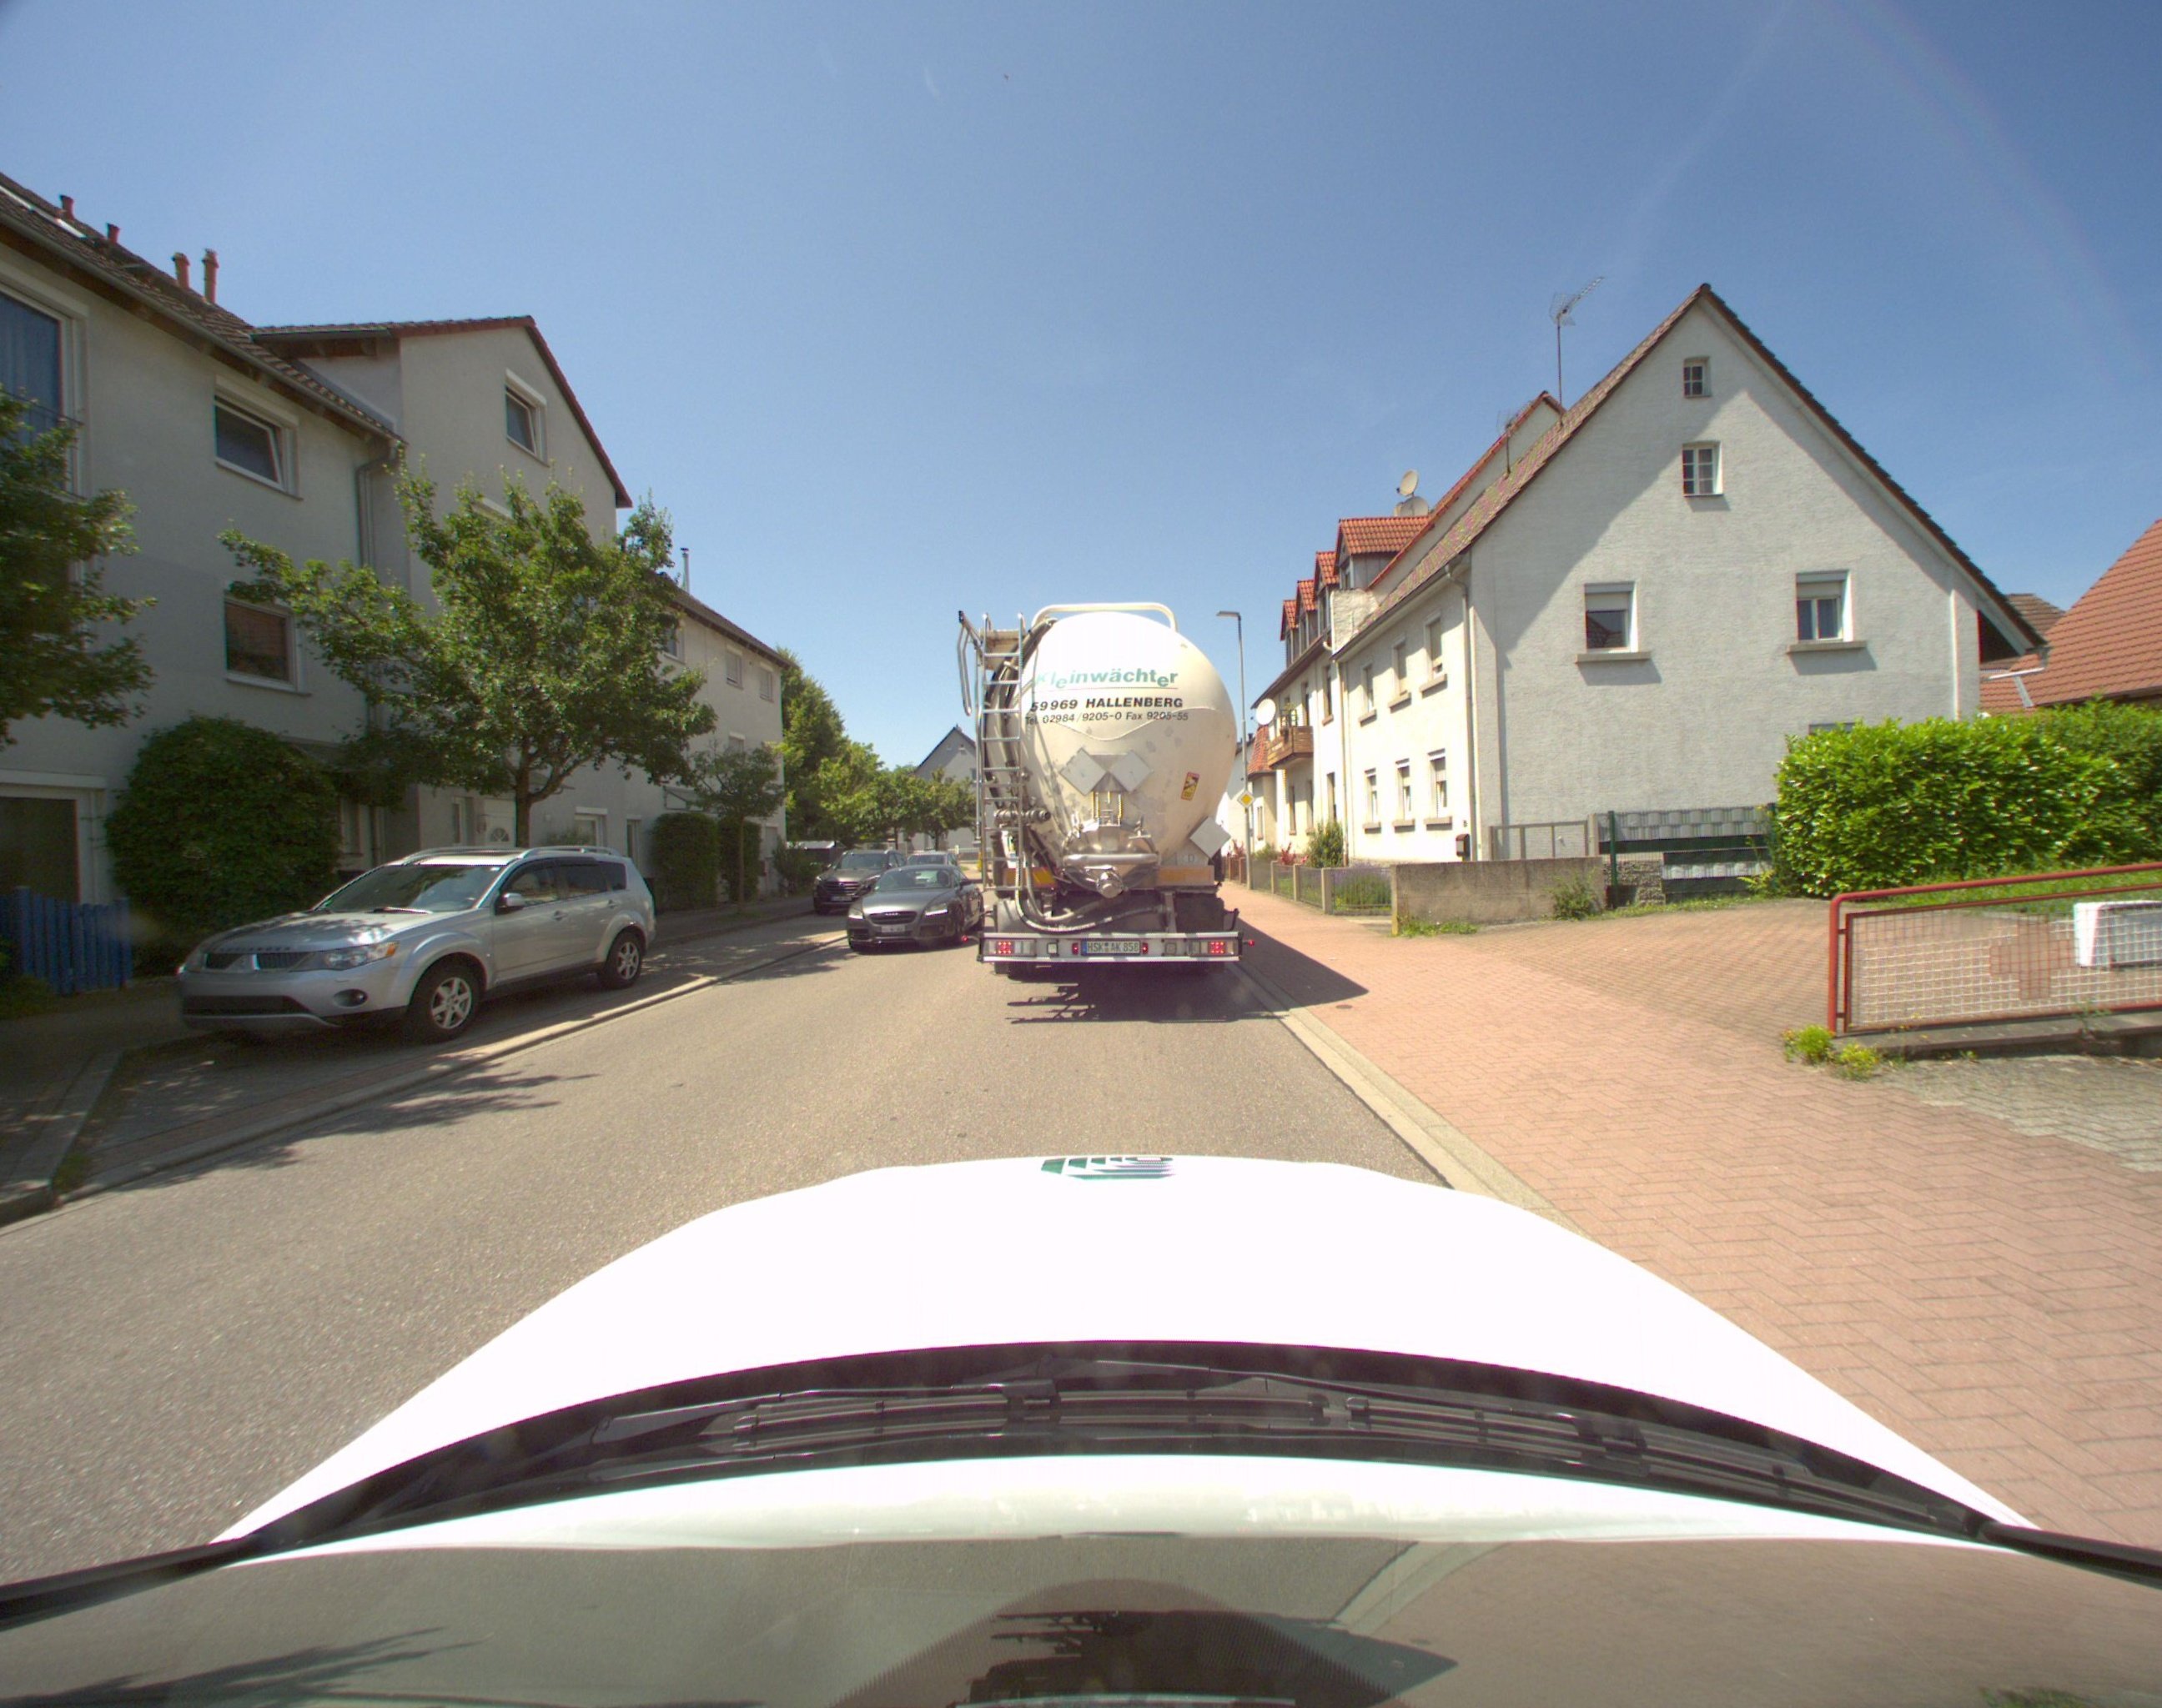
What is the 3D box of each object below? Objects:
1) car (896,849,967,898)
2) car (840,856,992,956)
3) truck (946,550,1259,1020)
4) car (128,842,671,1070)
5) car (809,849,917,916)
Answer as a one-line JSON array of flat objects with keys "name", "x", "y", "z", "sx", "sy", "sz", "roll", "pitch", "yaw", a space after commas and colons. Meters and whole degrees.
[{"name": "car", "x": -5.246, "y": 0.634, "z": 28.994, "sx": 1.691, "sy": 1.580, "sz": 3.839, "roll": -1, "pitch": 0, "yaw": 1}, {"name": "car", "x": -2.746, "y": 0.804, "z": 14.465, "sx": 1.700, "sy": 1.370, "sz": 3.870, "roll": -4, "pitch": 0, "yaw": 2}, {"name": "truck", "x": 0.363, "y": -0.626, "z": 11.818, "sx": 2.631, "sy": 4.015, "sz": 9.566, "roll": -1, "pitch": 0, "yaw": 2}, {"name": "car", "x": -6.277, "y": 0.749, "z": 8.401, "sx": 1.700, "sy": 1.686, "sz": 4.526, "roll": -1, "pitch": 0, "yaw": 1}, {"name": "car", "x": -5.785, "y": 0.687, "z": 22.088, "sx": 1.685, "sy": 1.620, "sz": 4.000, "roll": -1, "pitch": 0, "yaw": 2}]
